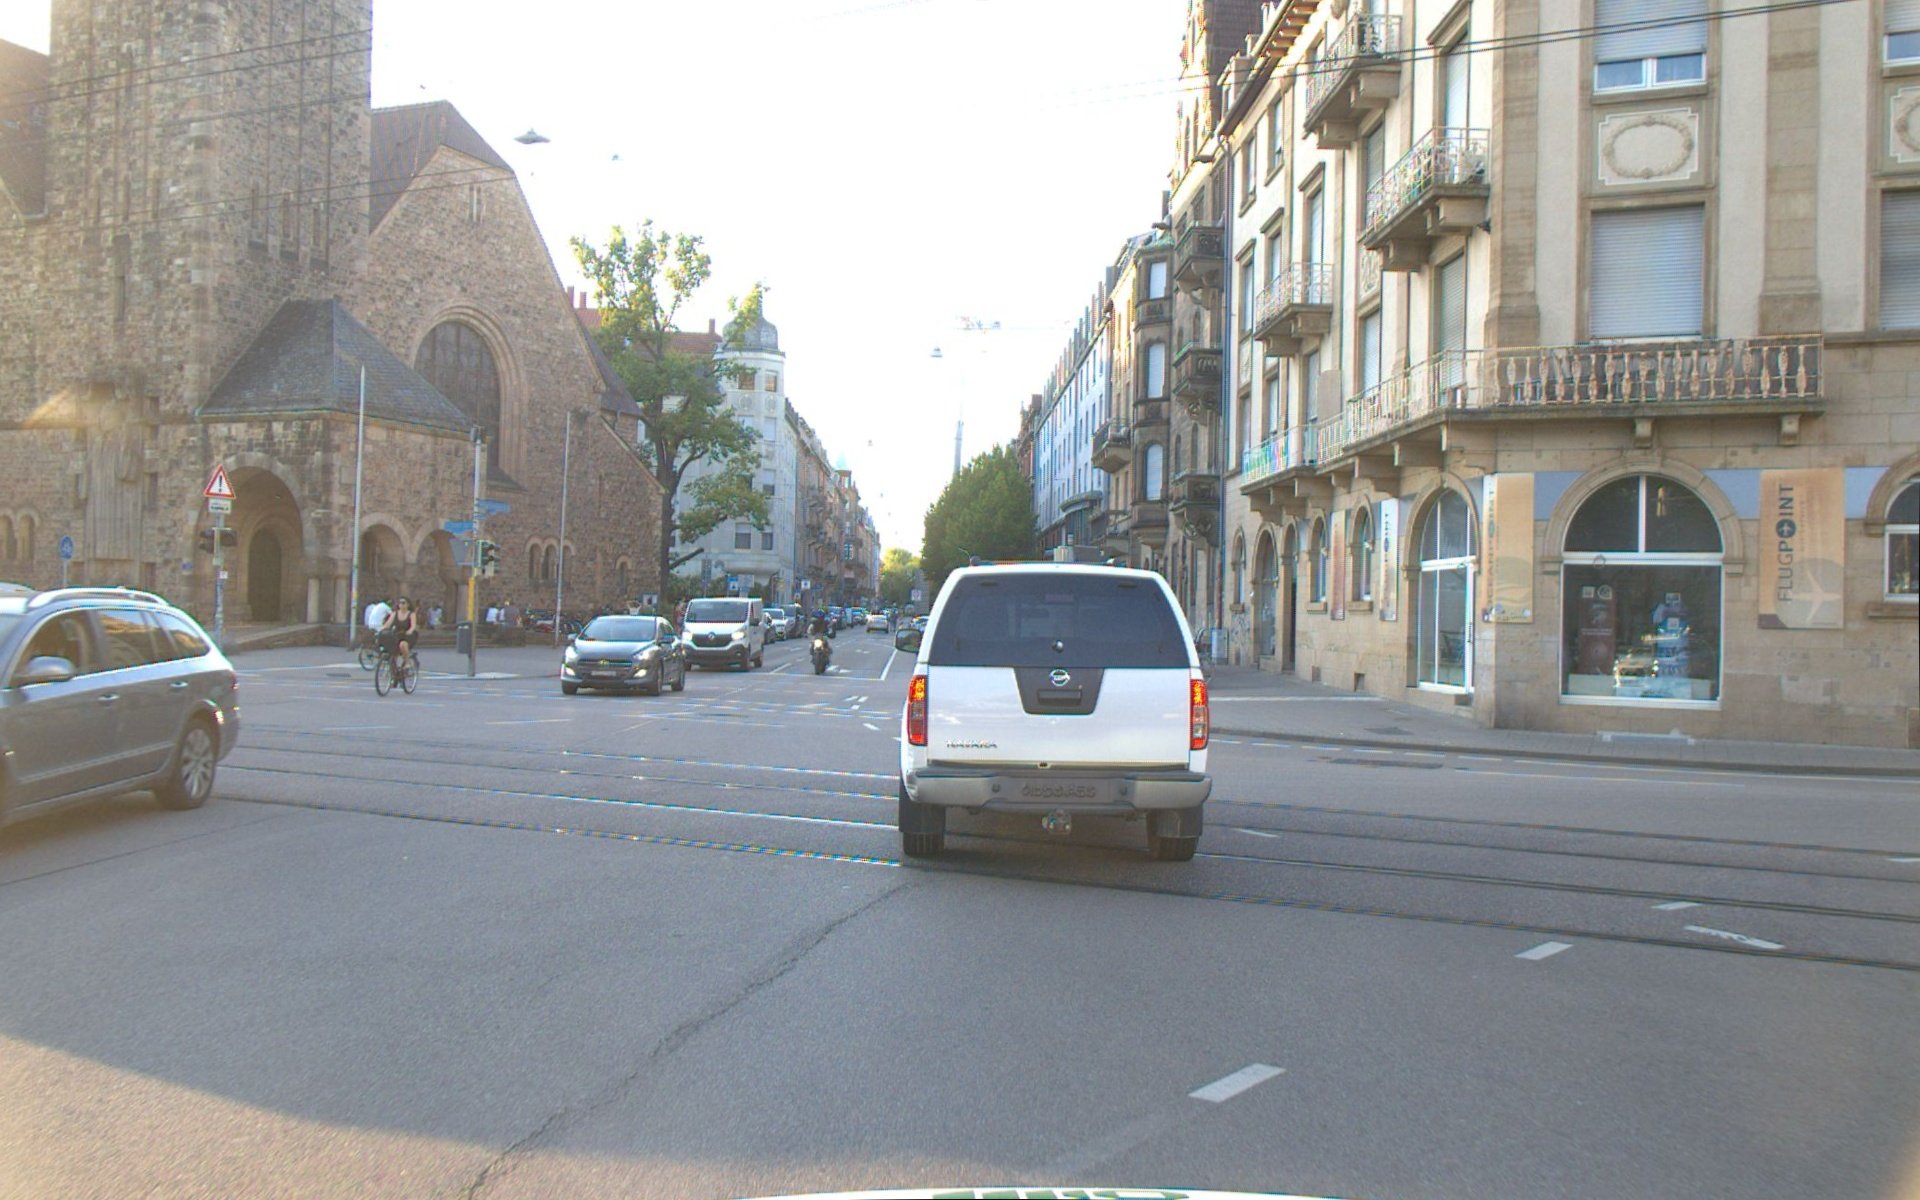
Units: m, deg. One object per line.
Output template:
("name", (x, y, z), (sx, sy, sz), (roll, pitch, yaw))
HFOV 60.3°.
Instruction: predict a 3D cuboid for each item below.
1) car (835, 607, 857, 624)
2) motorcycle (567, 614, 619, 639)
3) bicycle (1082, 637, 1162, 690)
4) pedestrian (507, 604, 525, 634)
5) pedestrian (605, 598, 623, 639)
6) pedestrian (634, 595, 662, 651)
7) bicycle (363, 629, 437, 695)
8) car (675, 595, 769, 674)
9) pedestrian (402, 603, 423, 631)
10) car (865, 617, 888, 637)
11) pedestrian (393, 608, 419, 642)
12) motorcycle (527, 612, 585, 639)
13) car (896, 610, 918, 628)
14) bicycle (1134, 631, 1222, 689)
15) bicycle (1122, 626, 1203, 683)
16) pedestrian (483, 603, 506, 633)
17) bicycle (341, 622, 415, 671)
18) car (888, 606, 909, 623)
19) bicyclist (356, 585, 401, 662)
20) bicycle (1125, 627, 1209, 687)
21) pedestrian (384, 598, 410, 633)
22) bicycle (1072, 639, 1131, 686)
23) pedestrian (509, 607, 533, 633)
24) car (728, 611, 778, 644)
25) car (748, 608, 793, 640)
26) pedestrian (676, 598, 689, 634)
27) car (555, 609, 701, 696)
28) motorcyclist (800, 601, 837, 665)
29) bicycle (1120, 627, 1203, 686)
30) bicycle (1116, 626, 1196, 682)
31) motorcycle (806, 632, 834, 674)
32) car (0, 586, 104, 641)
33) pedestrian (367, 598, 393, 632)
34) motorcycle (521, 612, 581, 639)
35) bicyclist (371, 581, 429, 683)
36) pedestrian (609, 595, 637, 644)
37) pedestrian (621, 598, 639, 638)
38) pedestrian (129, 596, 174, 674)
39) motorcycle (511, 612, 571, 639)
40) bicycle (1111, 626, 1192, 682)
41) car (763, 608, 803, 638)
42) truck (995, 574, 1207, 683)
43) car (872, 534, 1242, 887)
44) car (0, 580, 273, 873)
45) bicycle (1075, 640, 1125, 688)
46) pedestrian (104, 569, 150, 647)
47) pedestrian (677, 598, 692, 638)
("car", (-10.873, 1.483, 158.314), (1.821, 1.556, 3.999), (2, -1, -1))
("motorcycle", (-15.487, 1.116, 69.855), (2.120, 1.005, 0.594), (2, -1, 20))
("bicycle", (3.573, 1.394, 36.486), (1.692, 1.102, 0.317), (-2, -1, -2))
("pedestrian", (-14.514, 0.614, 54.051), (0.513, 0.977, 0.477), (2, -1, -16))
("pedestrian", (-14.928, 0.809, 71.370), (0.631, 1.725, 0.561), (2, -1, -8))
("pedestrian", (-11.086, 0.815, 58.752), (0.796, 1.934, 0.666), (2, -1, -2))
("bicycle", (-9.475, 1.033, 28.033), (0.587, 1.062, 1.945), (2, -1, -1))
("car", (-6.572, 0.954, 46.174), (1.953, 2.049, 4.949), (1, -1, -1))
("pedestrian", (-19.456, 0.593, 58.777), (0.541, 0.977, 0.708), (2, -1, -6))
("car", (-6.857, 2.233, 135.636), (1.822, 1.556, 3.997), (2, -1, -4))
("pedestrian", (-16.648, 0.748, 49.716), (0.469, 0.977, 0.522), (1, -1, 30))
("motorcycle", (-16.494, 1.044, 67.569), (2.200, 1.005, 0.707), (2, -1, -6))
("car", (-4.831, 1.713, 150.365), (1.821, 1.556, 3.999), (2, -1, -1))
("bicycle", (4.744, 1.304, 36.020), (1.781, 1.170, 0.636), (-2, -1, -2))
("bicycle", (4.688, 1.262, 38.399), (1.781, 1.259, 0.412), (-2, -1, -2))
("pedestrian", (-15.266, 0.588, 54.255), (0.510, 0.977, 0.479), (2, -1, 17))
("bicycle", (-14.229, 1.123, 40.508), (0.642, 1.096, 2.247), (2, 1, 10))
("car", (-5.991, 1.395, 160.681), (1.882, 1.556, 3.997), (2, -1, -3))
("bicyclist", (-14.223, 0.574, 40.448), (0.642, 1.859, 0.860), (2, -1, 10))
("bicycle", (4.625, 1.268, 36.962), (1.781, 1.259, 0.488), (-2, -1, -2))
("pedestrian", (-16.517, 0.456, 48.549), (0.511, 0.977, 0.479), (2, -1, 19))
("bicycle", (3.301, 1.446, 38.627), (1.306, 1.042, 0.317), (-2, -1, -2))
("pedestrian", (-16.608, 0.760, 62.631), (0.540, 0.977, 0.709), (2, -1, 21))
("car", (-9.670, 1.280, 77.412), (1.821, 1.422, 3.999), (2, -1, -1))
("car", (-9.777, 1.244, 85.608), (1.821, 1.556, 3.999), (2, -1, -1))
("pedestrian", (-13.518, 0.789, 80.512), (0.549, 1.725, 0.644), (2, -1, -8))
("car", (-6.156, 0.941, 31.119), (1.953, 1.503, 4.138), (0, 0, -1))
("motorcyclist", (-3.822, 0.884, 44.741), (0.857, 1.673, 0.963), (2, -1, -1))
("bicycle", (4.588, 1.282, 37.673), (1.781, 1.259, 0.477), (-2, -1, -2))
("bicycle", (4.619, 1.268, 39.004), (1.781, 1.259, 0.410), (-2, -1, -2))
("motorcycle", (-3.770, 1.411, 44.546), (0.587, 1.062, 1.945), (2, -1, -1))
("car", (-27.628, 0.387, 48.438), (1.680, 1.543, 4.453), (2, -1, 24))
("pedestrian", (-17.126, 0.437, 48.826), (0.511, 0.977, 0.479), (2, -1, 19))
("motorcycle", (-16.507, 1.032, 66.770), (2.200, 1.005, 0.707), (2, -1, -6))
("bicyclist", (-9.442, 0.544, 27.908), (0.587, 1.673, 0.963), (2, -1, -1))
("pedestrian", (-11.965, 0.682, 58.711), (0.796, 1.699, 0.859), (2, -1, -2))
("pedestrian", (-14.709, 0.810, 73.671), (0.629, 1.725, 0.562), (2, -1, -1))
("pedestrian", (-18.271, 0.786, 37.383), (0.620, 1.728, 0.603), (2, -1, 11))
("motorcycle", (-16.590, 1.011, 65.542), (2.200, 1.005, 0.707), (2, -1, -6))
("bicycle", (4.577, 1.276, 39.535), (1.818, 1.259, 0.530), (-2, -1, -2))
("car", (-9.841, 1.266, 92.189), (1.821, 1.556, 3.999), (2, -1, -1))
("truck", (3.706, 0.749, 42.590), (5.628, 2.610, 2.251), (2, -1, -44))
("car", (0.537, 0.632, 11.024), (1.953, 1.841, 3.999), (2, -1, 0))
("car", (-6.173, 0.690, 10.138), (1.953, 1.585, 4.768), (0, 0, 0))
("bicycle", (3.158, 1.437, 37.369), (1.055, 1.042, 0.317), (-2, -1, -2))
("pedestrian", (-18.922, 0.185, 37.555), (0.620, 1.728, 0.603), (2, -1, 16))
("pedestrian", (-13.276, 0.871, 79.672), (0.632, 1.888, 0.560), (2, -1, -14))
